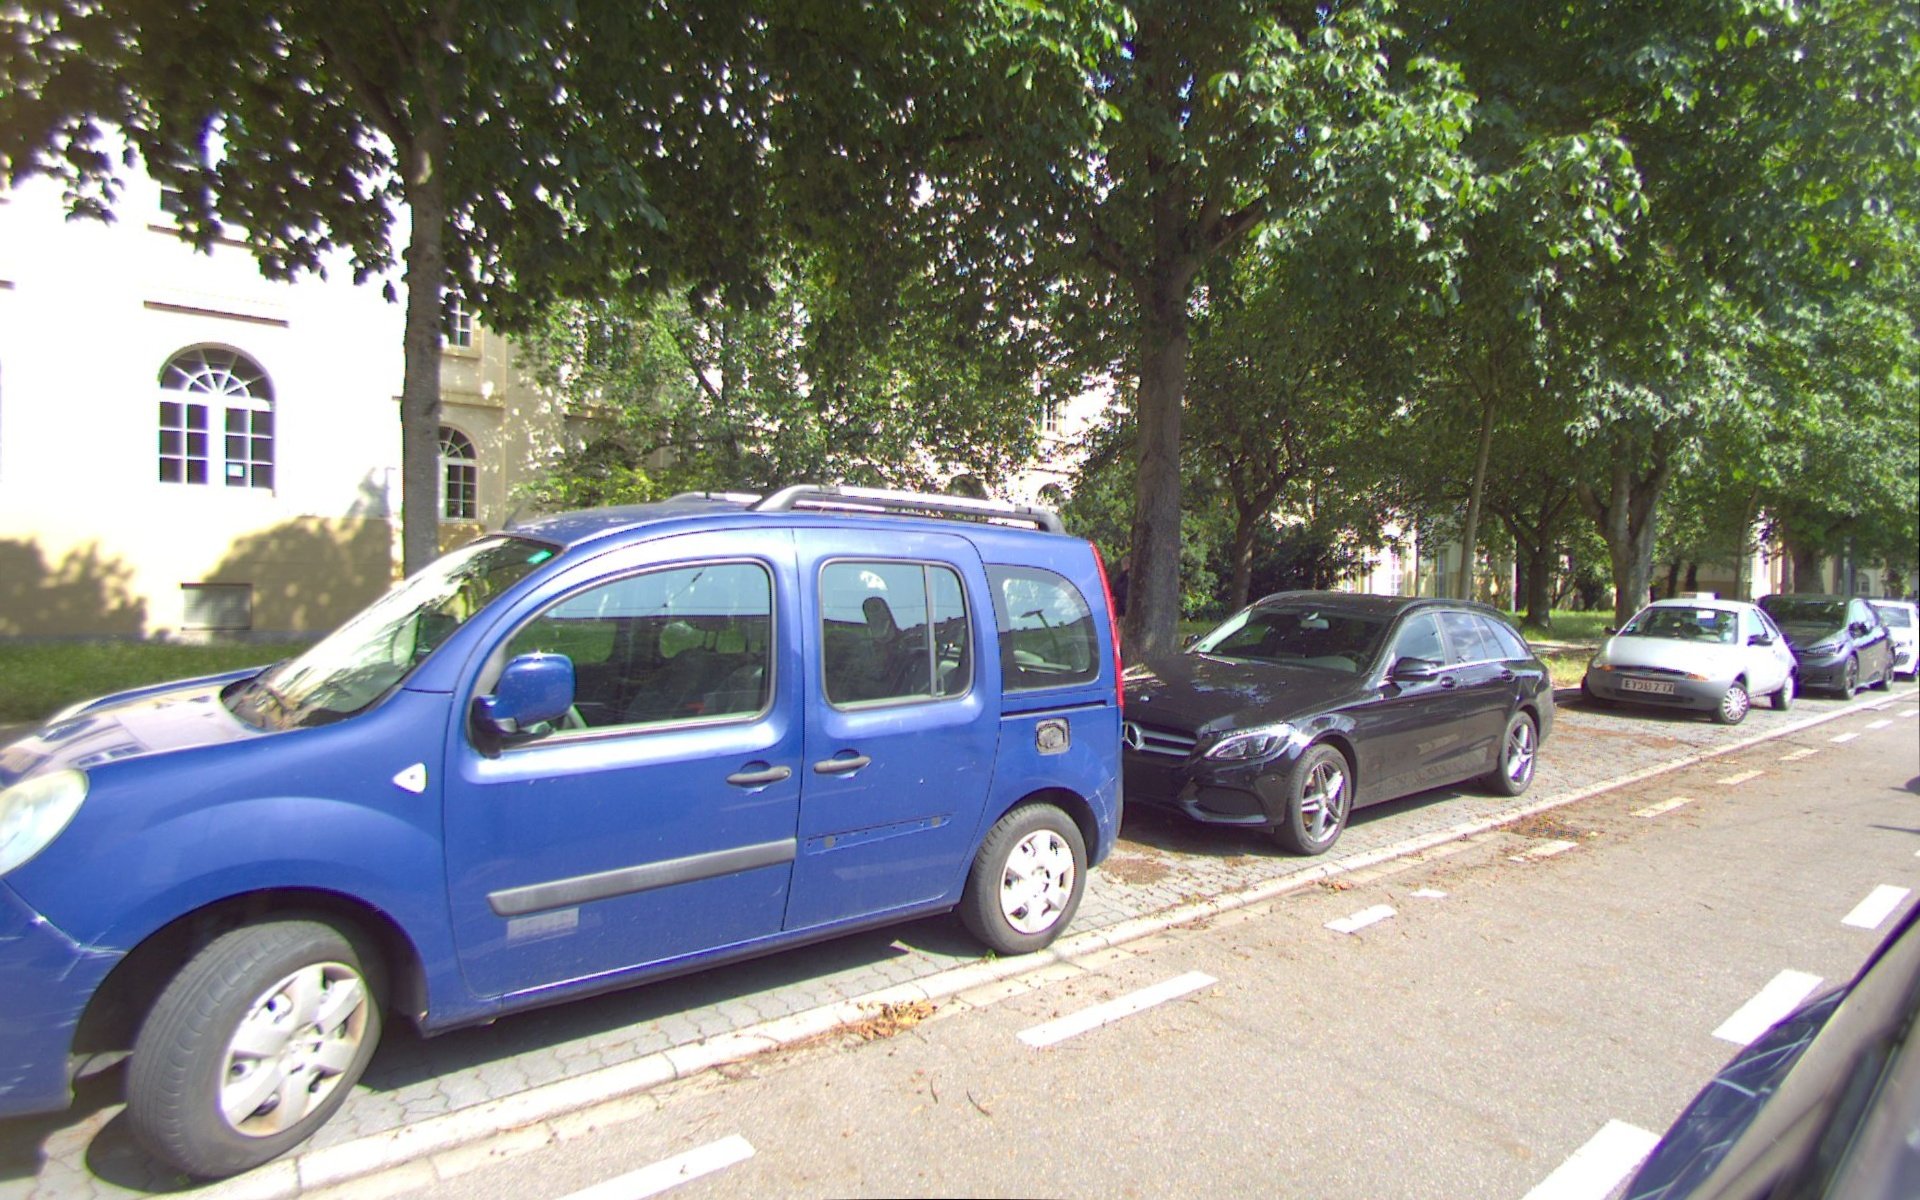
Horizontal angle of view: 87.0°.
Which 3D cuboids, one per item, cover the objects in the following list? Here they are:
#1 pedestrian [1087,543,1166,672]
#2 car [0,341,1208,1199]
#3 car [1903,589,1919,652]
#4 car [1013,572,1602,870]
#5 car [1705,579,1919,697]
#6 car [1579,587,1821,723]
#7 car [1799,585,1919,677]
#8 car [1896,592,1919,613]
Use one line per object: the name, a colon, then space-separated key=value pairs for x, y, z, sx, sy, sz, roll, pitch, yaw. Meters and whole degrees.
pedestrian: x=2.301 y=0.096 z=13.995 sx=0.752 sy=1.717 sz=0.747 roll=0 pitch=1 yaw=-33
car: x=-1.117 y=0.393 z=3.954 sx=4.106 sy=1.919 sz=1.828 roll=1 pitch=2 yaw=-37
car: x=24.813 y=0.520 z=25.159 sx=3.497 sy=1.478 sz=1.559 roll=-1 pitch=5 yaw=-41
car: x=2.792 y=0.618 z=7.493 sx=4.711 sy=1.459 sz=1.922 roll=0 pitch=3 yaw=-40
car: x=13.844 y=0.522 z=16.334 sx=4.591 sy=1.603 sz=1.730 roll=0 pitch=2 yaw=-38
car: x=9.630 y=0.599 z=13.097 sx=3.532 sy=1.462 sz=1.595 roll=-1 pitch=3 yaw=-38
car: x=18.086 y=0.527 z=19.834 sx=4.179 sy=1.542 sz=1.839 roll=0 pitch=4 yaw=-41
car: x=77.681 y=0.216 z=80.162 sx=1.820 sy=1.676 sz=4.843 roll=-1 pitch=2 yaw=-28
